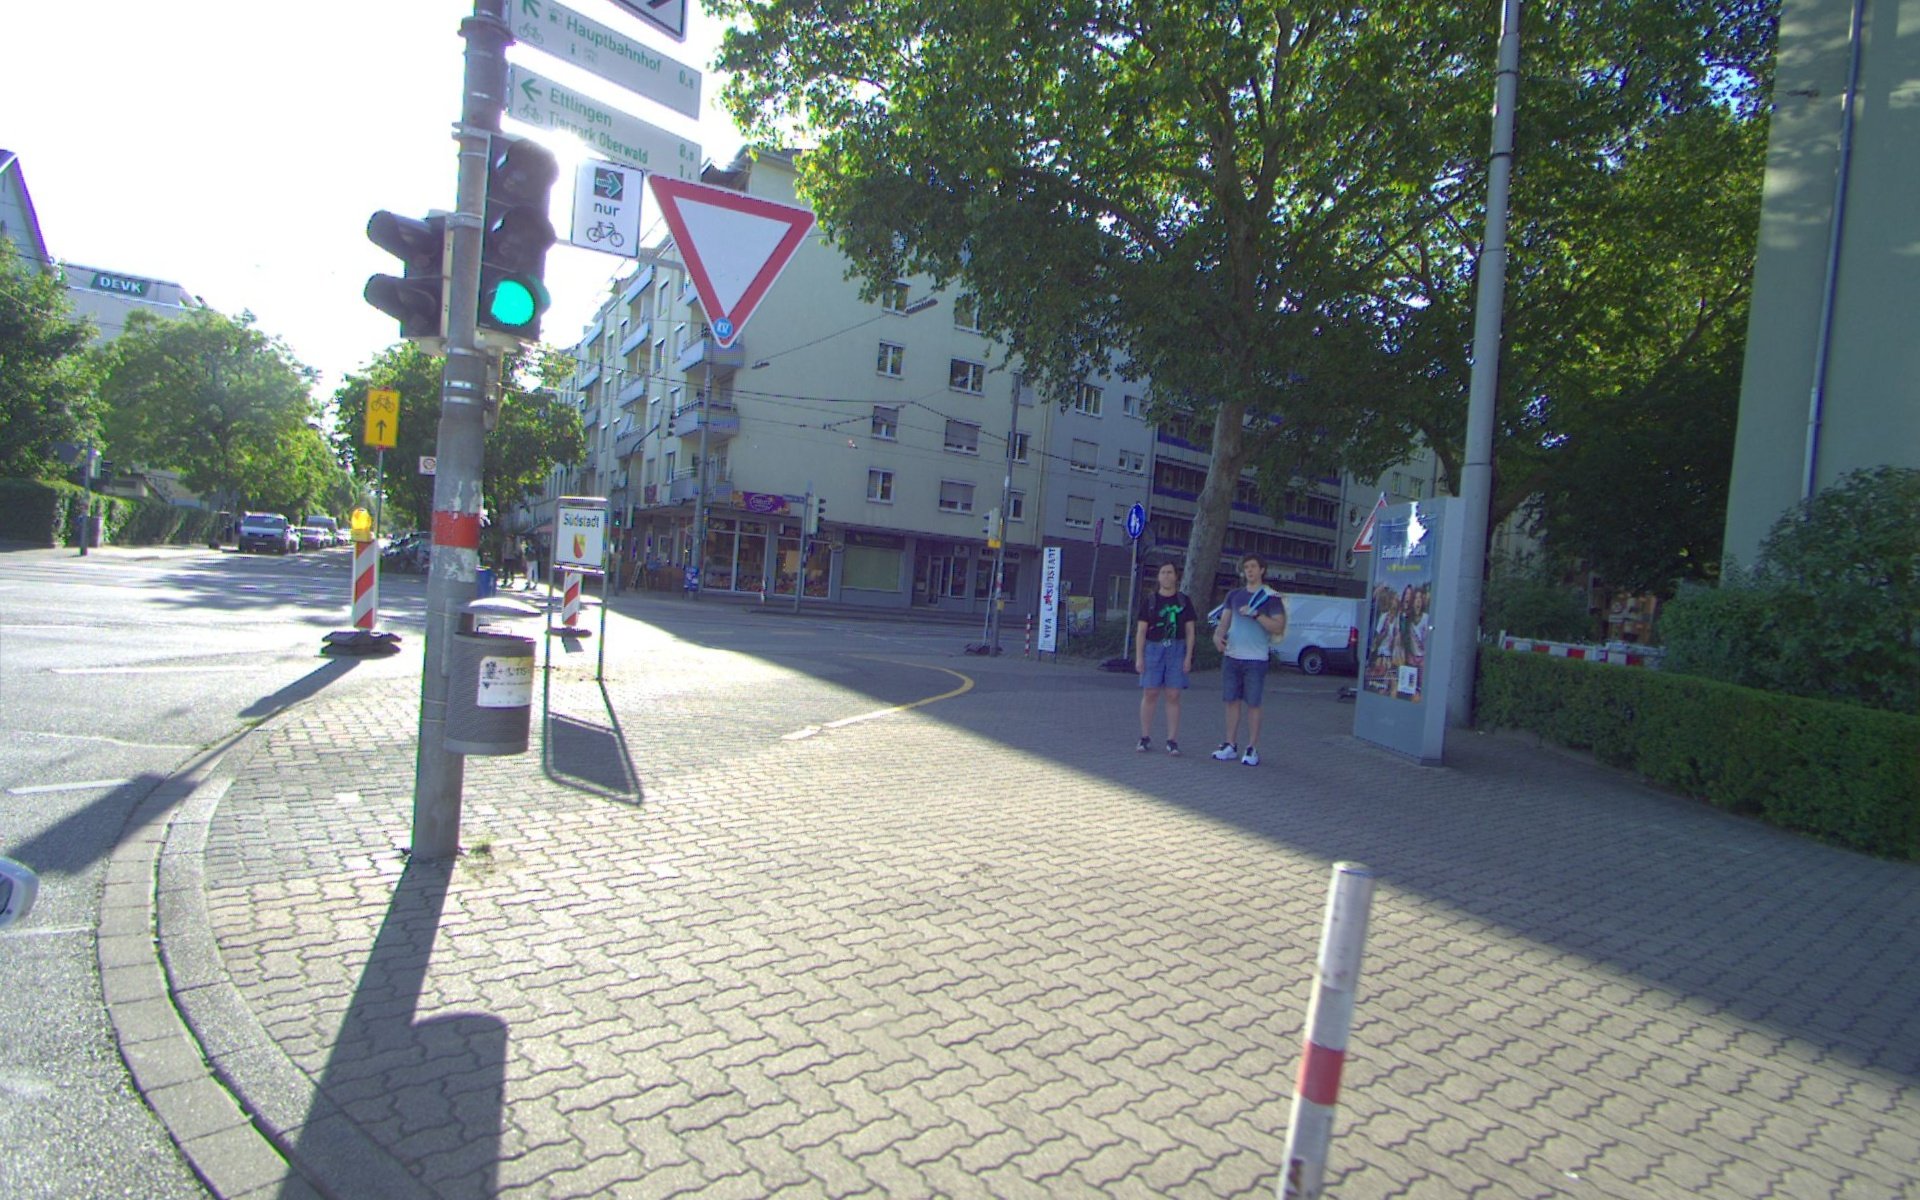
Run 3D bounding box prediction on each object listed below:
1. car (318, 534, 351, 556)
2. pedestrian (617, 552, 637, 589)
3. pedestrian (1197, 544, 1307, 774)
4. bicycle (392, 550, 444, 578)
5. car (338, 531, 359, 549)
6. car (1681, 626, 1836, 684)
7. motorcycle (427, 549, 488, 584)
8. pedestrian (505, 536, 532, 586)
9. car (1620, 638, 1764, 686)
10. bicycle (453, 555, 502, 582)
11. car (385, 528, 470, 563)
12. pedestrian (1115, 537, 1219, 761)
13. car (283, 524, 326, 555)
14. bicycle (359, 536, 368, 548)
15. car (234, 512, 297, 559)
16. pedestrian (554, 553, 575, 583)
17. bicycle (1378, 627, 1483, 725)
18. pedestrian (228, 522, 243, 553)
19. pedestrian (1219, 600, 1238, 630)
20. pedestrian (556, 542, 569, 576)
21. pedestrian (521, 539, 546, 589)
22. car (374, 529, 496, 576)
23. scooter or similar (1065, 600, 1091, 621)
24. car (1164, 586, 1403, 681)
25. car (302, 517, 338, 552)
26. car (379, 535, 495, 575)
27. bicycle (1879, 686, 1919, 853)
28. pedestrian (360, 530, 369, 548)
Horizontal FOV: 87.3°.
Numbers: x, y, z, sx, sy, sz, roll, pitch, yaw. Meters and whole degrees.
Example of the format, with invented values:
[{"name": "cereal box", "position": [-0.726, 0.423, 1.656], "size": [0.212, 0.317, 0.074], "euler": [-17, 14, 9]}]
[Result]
[{"name": "car", "position": [-60.431, -5.305, 97.278], "size": [2.334, 1.818, 5.270], "euler": [4, 1, -29]}, {"name": "pedestrian", "position": [-15.424, -1.364, 46.562], "size": [0.472, 1.613, 0.615], "euler": [6, 3, 43]}, {"name": "pedestrian", "position": [2.450, 0.472, 8.405], "size": [0.680, 1.773, 0.794], "euler": [5, 2, 20]}, {"name": "bicycle", "position": [-21.205, -1.413, 39.363], "size": [1.709, 0.945, 0.667], "euler": [4, 2, -31]}, {"name": "car", "position": [-73.543, -7.207, 120.972], "size": [1.980, 1.708, 3.970], "euler": [8, -3, -31]}, {"name": "car", "position": [41.786, 2.840, 52.797], "size": [2.041, 2.397, 5.905], "euler": [3, 2, -37]}, {"name": "motorcycle", "position": [-19.117, -1.274, 38.280], "size": [1.939, 1.124, 0.829], "euler": [4, 2, -36]}, {"name": "pedestrian", "position": [-16.493, -1.441, 37.567], "size": [0.682, 1.773, 0.792], "euler": [4, 2, -15]}, {"name": "car", "position": [31.808, 2.669, 43.842], "size": [1.903, 1.554, 4.675], "euler": [4, 1, -40]}, {"name": "bicycle", "position": [-19.504, -1.255, 40.667], "size": [1.709, 0.945, 0.557], "euler": [4, 2, -31]}, {"name": "car", "position": [-37.620, -3.827, 71.109], "size": [5.052, 1.948, 2.343], "euler": [4, -1, -33]}, {"name": "pedestrian", "position": [1.762, 0.398, 8.592], "size": [0.680, 1.773, 0.794], "euler": [5, 2, 12]}, {"name": "car", "position": [-45.278, -4.184, 69.581], "size": [2.337, 1.818, 5.264], "euler": [4, 1, -32]}, {"name": "bicycle", "position": [-68.751, -6.697, 116.017], "size": [0.759, 1.341, 1.909], "euler": [4, 1, -29]}, {"name": "car", "position": [-35.128, -3.245, 51.024], "size": [2.337, 2.040, 5.264], "euler": [4, 1, -32]}, {"name": "pedestrian", "position": [-19.182, -1.559, 48.761], "size": [0.803, 1.380, 0.908], "euler": [4, 2, -25]}, {"name": "bicycle", "position": [6.008, 0.937, 12.969], "size": [0.511, 1.071, 1.934], "euler": [5, 1, 5]}, {"name": "pedestrian", "position": [-42.418, -3.654, 58.901], "size": [0.575, 1.753, 0.602], "euler": [4, 2, -36]}, {"name": "pedestrian", "position": [15.205, 0.850, 56.918], "size": [0.620, 1.670, 0.658], "euler": [4, 2, -38]}, {"name": "pedestrian", "position": [-25.072, -2.591, 63.452], "size": [0.532, 2.040, 0.506], "euler": [3, 2, -37]}, {"name": "pedestrian", "position": [-15.959, -1.353, 37.650], "size": [0.685, 1.773, 0.834], "euler": [4, 2, -28]}, {"name": "car", "position": [-28.080, -2.484, 53.876], "size": [5.578, 1.948, 2.343], "euler": [4, -1, -33]}, {"name": "scooter or similar", "position": [5.881, 0.535, 50.097], "size": [1.421, 0.966, 0.462], "euler": [3, 2, -45]}, {"name": "car", "position": [7.594, 0.730, 24.142], "size": [1.914, 1.849, 5.184], "euler": [5, -1, -38]}, {"name": "car", "position": [-52.962, -5.404, 83.278], "size": [2.337, 2.547, 5.264], "euler": [4, 1, -32]}, {"name": "car", "position": [-26.833, -2.257, 51.639], "size": [5.052, 1.576, 2.343], "euler": [5, -1, -33]}, {"name": "bicycle", "position": [7.248, 1.204, 6.540], "size": [1.897, 1.071, 0.521], "euler": [5, 2, 3]}, {"name": "pedestrian", "position": [-68.735, -7.068, 116.047], "size": [0.730, 2.040, 0.738], "euler": [4, 2, -28]}]
